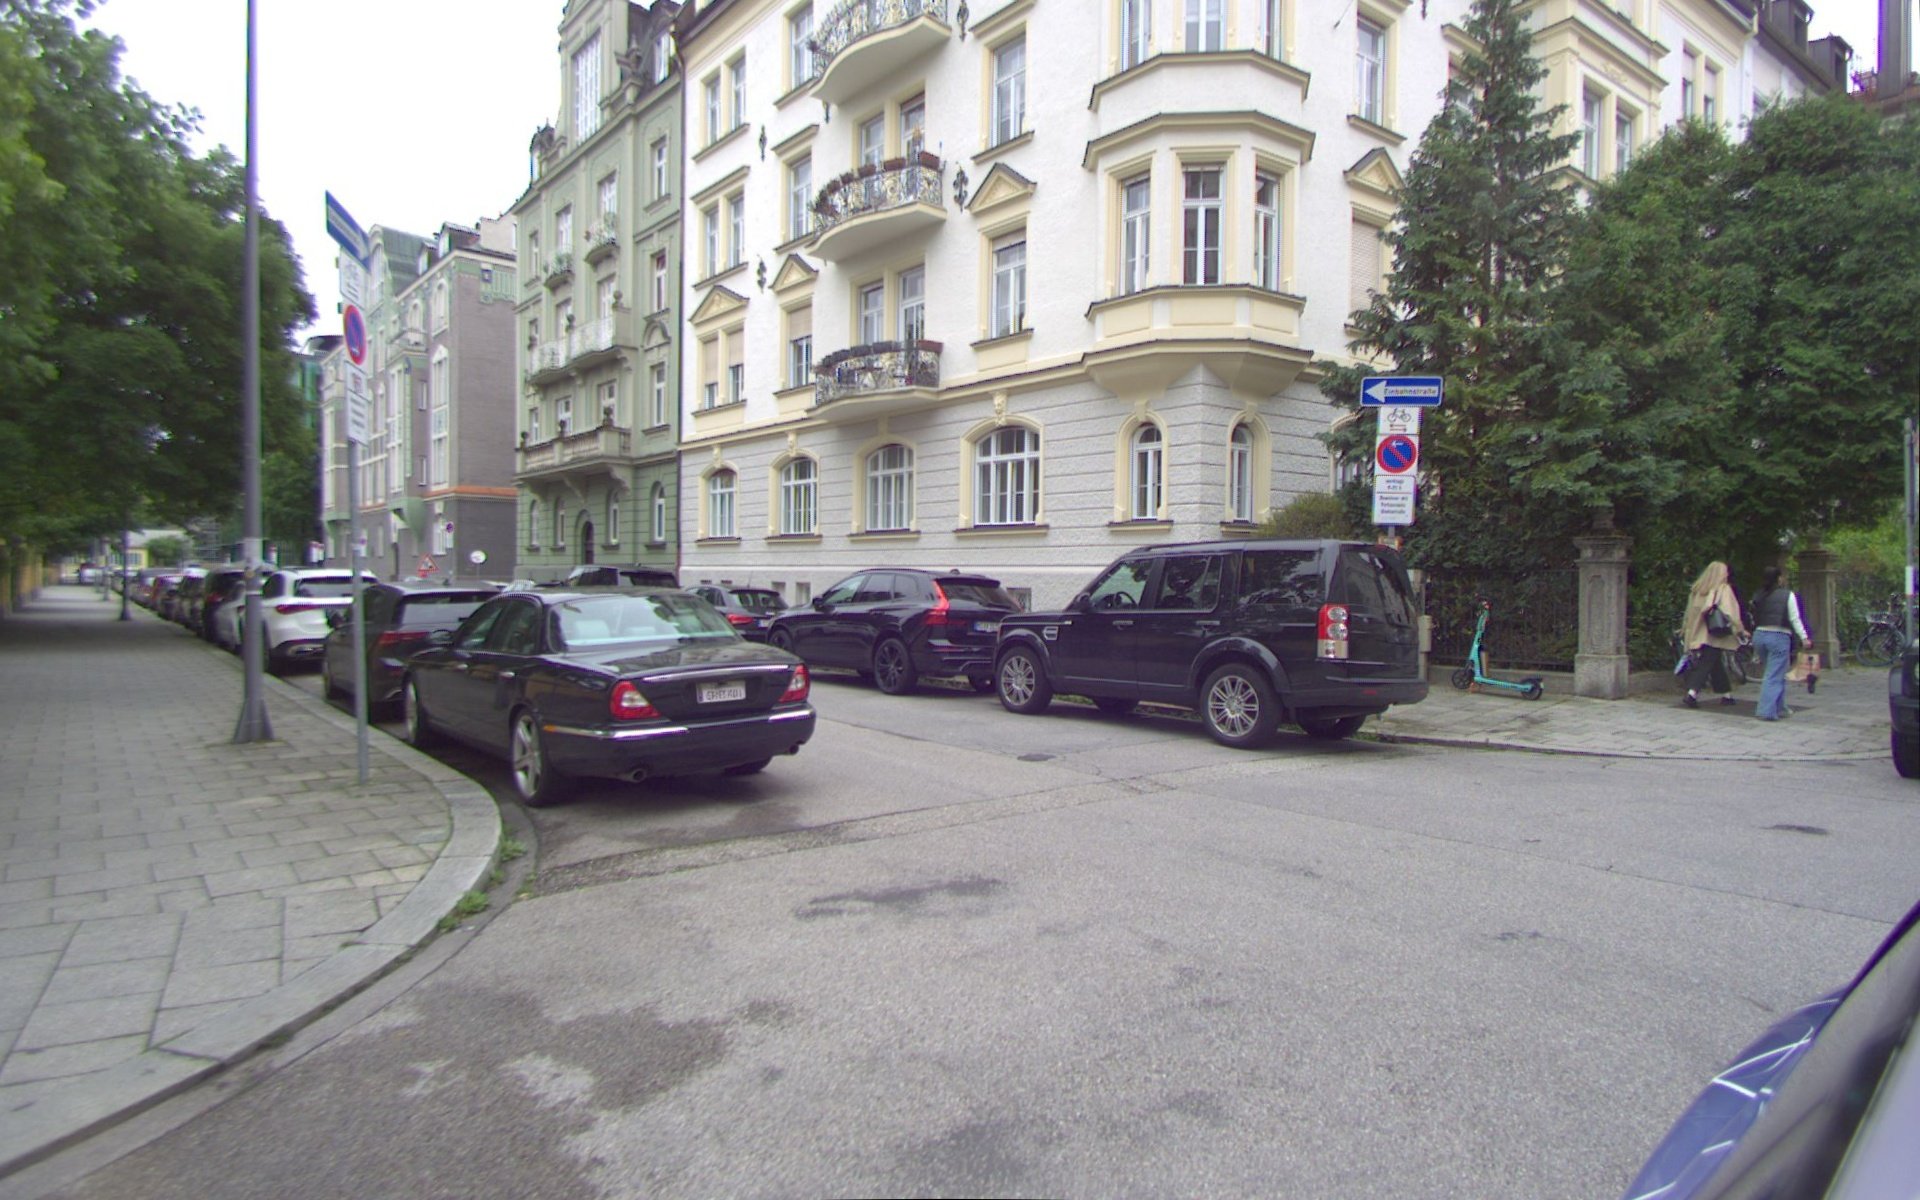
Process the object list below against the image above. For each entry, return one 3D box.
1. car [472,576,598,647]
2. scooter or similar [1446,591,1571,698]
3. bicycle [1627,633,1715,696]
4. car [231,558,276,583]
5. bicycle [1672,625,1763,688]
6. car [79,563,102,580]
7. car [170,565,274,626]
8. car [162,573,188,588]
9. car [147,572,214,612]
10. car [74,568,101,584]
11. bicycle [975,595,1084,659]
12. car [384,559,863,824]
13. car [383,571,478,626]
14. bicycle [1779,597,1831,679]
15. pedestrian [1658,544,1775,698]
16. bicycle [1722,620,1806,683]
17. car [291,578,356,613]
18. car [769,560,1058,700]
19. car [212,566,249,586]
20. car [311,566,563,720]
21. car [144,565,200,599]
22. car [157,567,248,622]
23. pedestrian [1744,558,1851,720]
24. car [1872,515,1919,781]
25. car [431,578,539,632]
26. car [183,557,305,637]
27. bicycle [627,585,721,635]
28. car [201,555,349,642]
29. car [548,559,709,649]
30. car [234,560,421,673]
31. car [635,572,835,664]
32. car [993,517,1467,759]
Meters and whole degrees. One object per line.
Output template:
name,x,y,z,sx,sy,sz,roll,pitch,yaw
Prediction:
car,-11.371,0.260,26.923,1.929,1.670,4.246,2,1,-39
scooter or similar,6.772,0.518,12.556,0.364,1.204,1.353,-1,2,-31
bicycle,8.841,0.784,12.576,1.101,0.691,0.515,-1,1,-33
car,-48.044,-1.997,68.755,1.966,1.641,4.600,-2,2,-42
bicycle,9.947,0.720,13.280,1.328,0.744,0.515,-1,1,-33
car,-101.749,-3.333,118.410,1.879,1.892,4.600,-2,2,-42
car,-21.475,-0.184,29.370,1.966,1.641,4.600,-2,2,-42
car,-88.014,-2.215,113.467,1.966,1.641,4.600,-1,2,-42
car,-34.214,-0.396,44.376,1.966,1.641,4.600,-2,2,-42
car,-90.162,-2.507,104.540,1.966,1.641,4.600,-2,2,-42
bicycle,1.276,0.483,19.193,0.529,1.119,2.410,0,1,-40
car,-2.992,0.448,8.159,1.834,1.500,4.919,-2,2,-42
car,-17.758,-0.070,33.850,1.929,1.670,4.246,2,1,-39
bicycle,12.188,0.519,14.620,0.512,1.108,1.335,1,1,38
pedestrian,8.762,0.221,11.744,0.722,1.723,0.697,1,3,-5
bicycle,11.146,0.700,14.026,1.328,0.791,0.515,-1,1,-33
car,-31.307,-0.265,49.719,1.966,1.641,4.600,-2,2,-42
car,-0.808,0.314,14.403,1.929,1.670,4.246,2,1,-39
car,-59.576,-1.967,82.594,1.966,1.641,4.600,-2,2,-42
car,-6.523,0.353,12.331,1.888,1.500,4.605,-2,2,-38
car,-40.929,-0.954,52.553,1.966,1.641,4.600,-2,2,-42
car,-24.843,-0.233,33.140,1.966,1.641,4.600,-2,2,-42
pedestrian,8.945,0.385,10.816,0.695,1.648,0.689,-1,3,-37
car,9.443,0.371,8.245,4.576,1.979,1.957,1,-1,-34
car,-14.284,0.124,30.314,1.929,1.424,4.246,2,1,-39
car,-17.804,-0.127,25.080,1.977,1.799,4.375,-2,2,-42
bicycle,-8.235,0.244,29.044,1.726,1.283,2.471,-4,3,-39
car,-14.540,-0.098,21.362,1.966,1.641,4.600,-2,2,-42
car,-7.381,0.035,22.259,1.929,1.776,4.246,2,1,-39
car,-10.749,0.169,17.052,1.966,1.641,4.601,-2,2,-41
car,-4.251,0.272,18.701,1.929,1.459,4.108,2,1,-39
car,2.561,0.260,10.622,1.869,1.975,4.539,2,1,-39
